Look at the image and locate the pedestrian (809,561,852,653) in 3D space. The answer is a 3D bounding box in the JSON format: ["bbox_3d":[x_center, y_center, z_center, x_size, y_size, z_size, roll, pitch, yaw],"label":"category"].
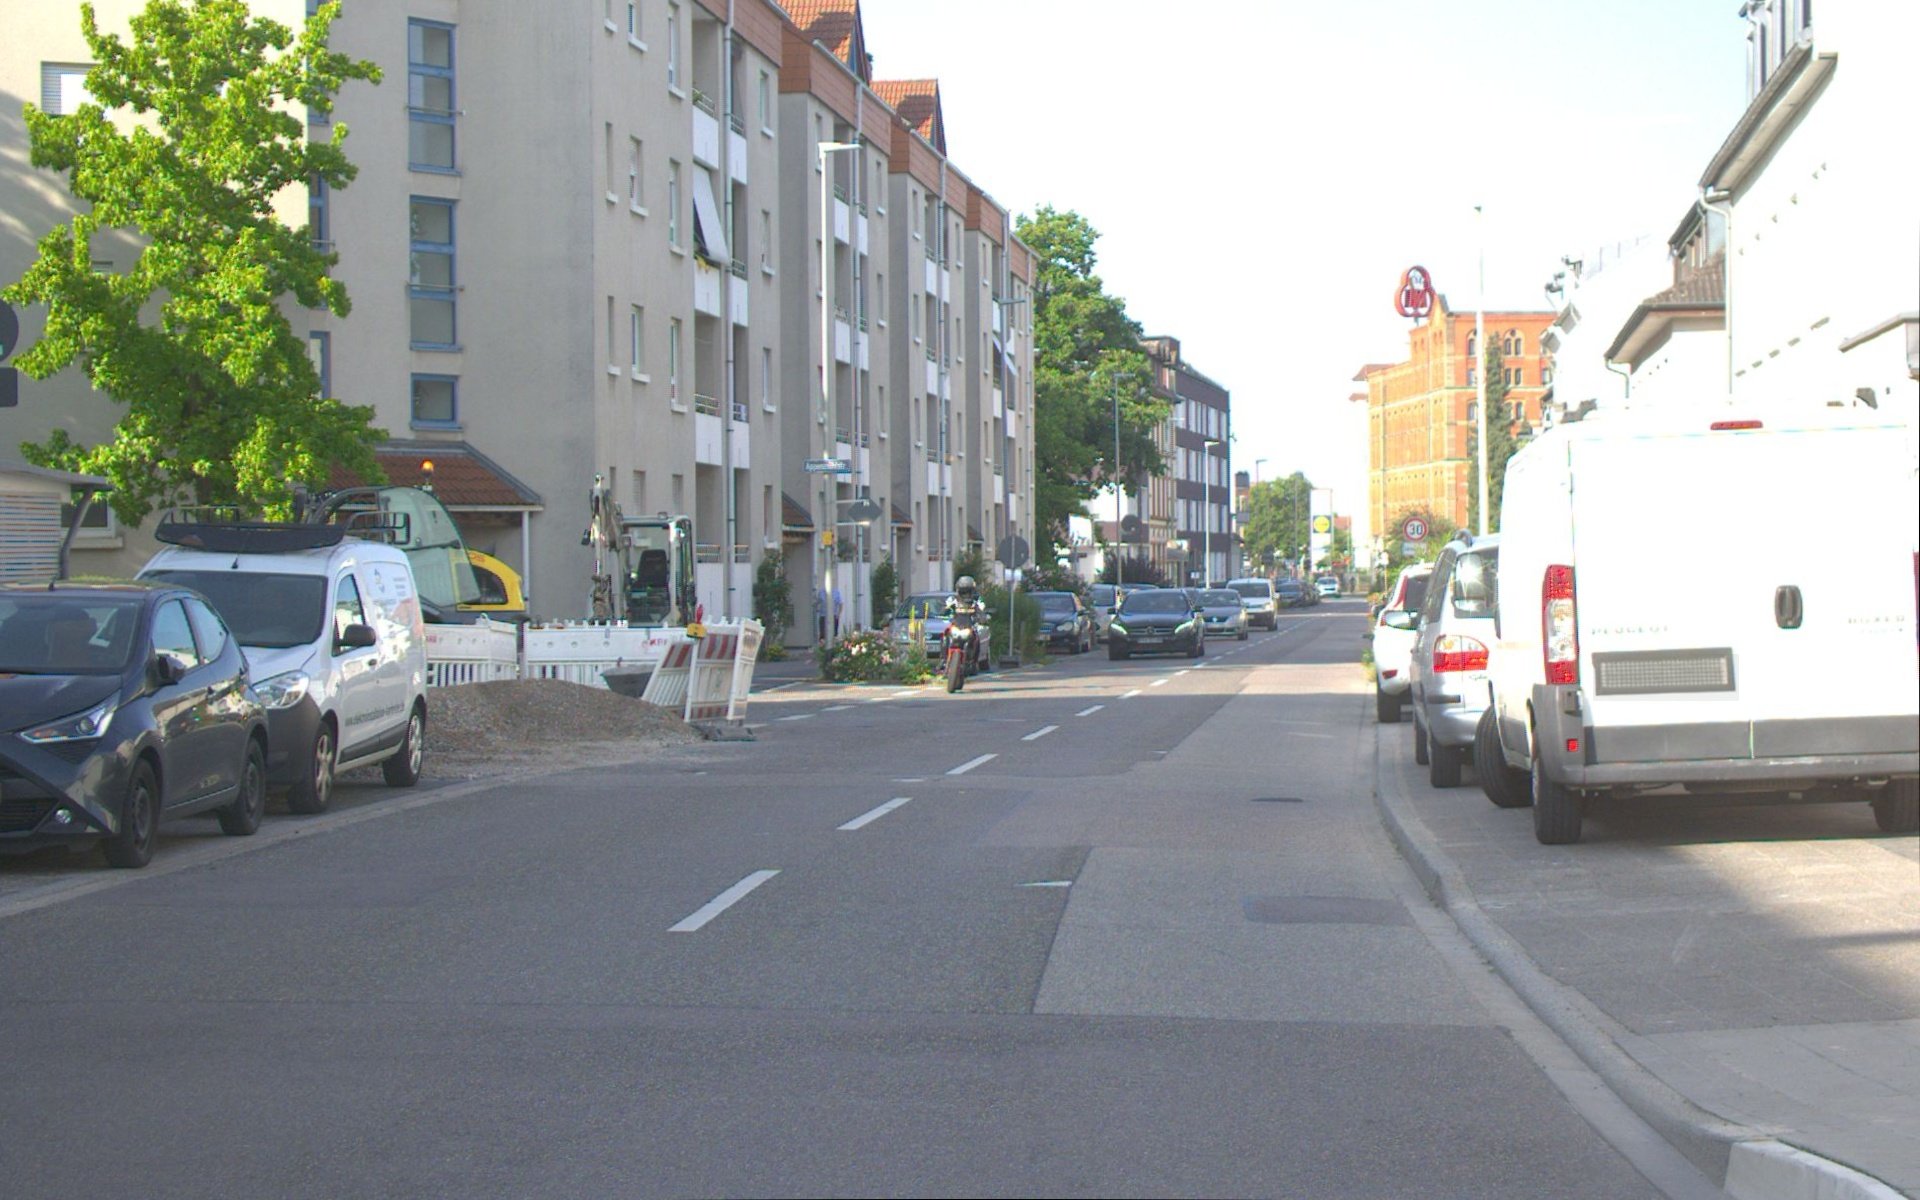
[{"bbox_3d":[-2.585,0.140,68.746,0.719,1.812,0.745,0,1,8],"label":"pedestrian"}]

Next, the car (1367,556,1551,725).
[{"bbox_3d":[5.372,0.392,37.443,1.812,1.678,4.475,-2,1,7],"label":"car"}]

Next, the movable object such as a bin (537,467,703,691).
[{"bbox_3d":[-4.906,-0.318,50.024,1.648,3.127,3.899,0,1,6],"label":"movable object such as a bin"}]

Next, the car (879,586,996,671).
[{"bbox_3d":[-0.359,0.467,59.885,1.640,1.391,3.671,-1,0,6],"label":"car"}]

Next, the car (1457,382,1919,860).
[{"bbox_3d":[4.112,0.073,19.512,2.175,2.319,4.997,-2,1,5],"label":"car"}]

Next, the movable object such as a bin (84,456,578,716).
[{"bbox_3d":[-7.257,-0.163,40.082,5.496,2.890,2.112,1,1,-8],"label":"movable object such as a bin"}]

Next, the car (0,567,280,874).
[{"bbox_3d":[-4.829,0.568,18.503,1.493,1.460,3.514,1,1,2],"label":"car"}]

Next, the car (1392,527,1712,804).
[{"bbox_3d":[4.086,0.393,24.345,1.778,1.735,4.483,-2,1,5],"label":"car"}]

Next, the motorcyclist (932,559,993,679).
[{"bbox_3d":[0.034,0.261,47.740,0.769,1.646,0.843,0,1,5],"label":"motorcyclist"}]

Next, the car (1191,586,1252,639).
[{"bbox_3d":[7.475,0.340,98.065,1.618,1.450,3.684,-1,0,6],"label":"car"}]

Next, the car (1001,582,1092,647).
[{"bbox_3d":[1.982,0.312,77.763,1.686,1.401,4.083,1,0,6],"label":"car"}]

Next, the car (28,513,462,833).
[{"bbox_3d":[-4.731,0.418,23.389,1.727,1.954,4.438,1,1,4],"label":"car"}]

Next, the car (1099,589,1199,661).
[{"bbox_3d":[3.923,0.491,70.707,1.830,1.415,4.208,0,0,6],"label":"car"}]

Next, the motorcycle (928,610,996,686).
[{"bbox_3d":[0.033,0.652,47.682,0.768,0.981,2.199,0,1,5],"label":"motorcycle"}]

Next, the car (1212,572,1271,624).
[{"bbox_3d":[9.740,-0.085,118.730,1.922,1.761,4.337,0,0,6],"label":"car"}]
